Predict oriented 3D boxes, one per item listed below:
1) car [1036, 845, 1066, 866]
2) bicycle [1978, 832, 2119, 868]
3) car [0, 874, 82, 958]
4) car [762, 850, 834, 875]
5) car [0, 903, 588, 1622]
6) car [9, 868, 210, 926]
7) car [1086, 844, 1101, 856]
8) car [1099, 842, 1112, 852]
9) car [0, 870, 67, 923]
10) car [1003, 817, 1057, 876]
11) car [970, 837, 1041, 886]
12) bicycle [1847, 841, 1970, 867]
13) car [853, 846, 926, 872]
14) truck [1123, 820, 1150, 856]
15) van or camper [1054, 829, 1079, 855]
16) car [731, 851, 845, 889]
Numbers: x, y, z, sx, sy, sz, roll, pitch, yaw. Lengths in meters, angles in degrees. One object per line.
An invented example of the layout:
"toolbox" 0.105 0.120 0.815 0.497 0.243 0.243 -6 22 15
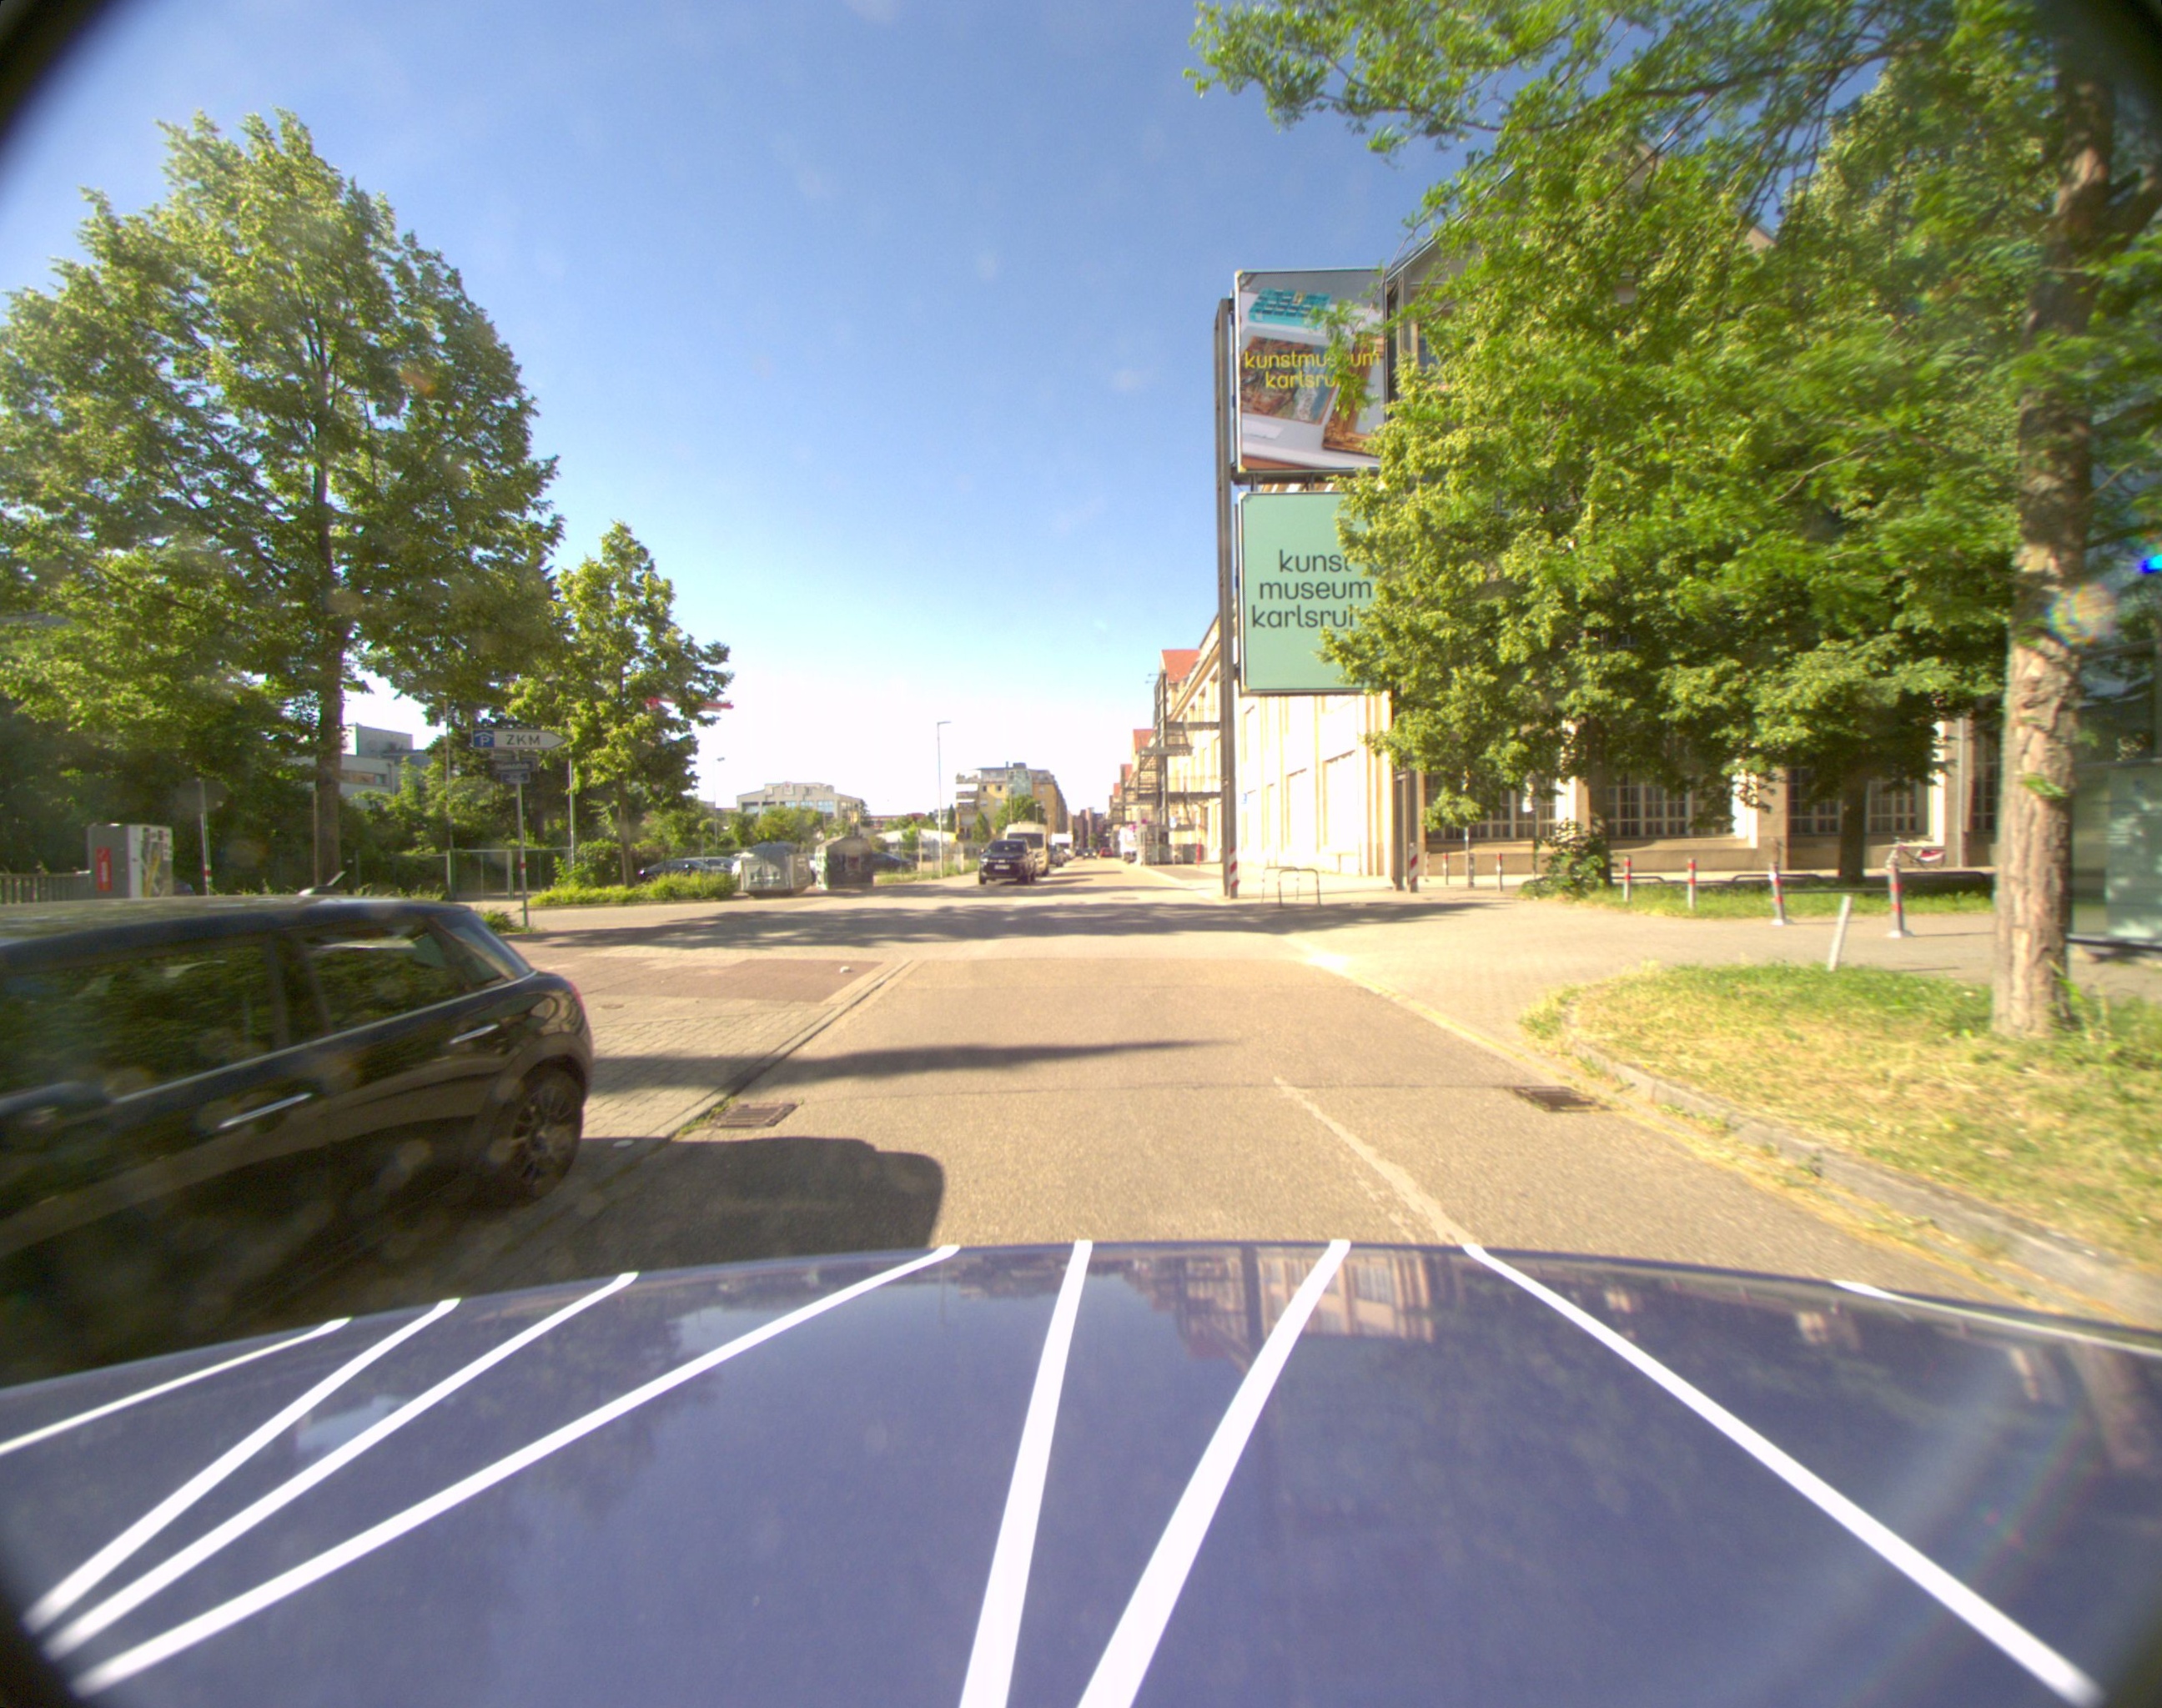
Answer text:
"car" -2.168 0.111 55.133 1.850 1.417 4.224 -2 1 2
"bicycle" 30.106 -0.140 23.747 0.718 1.057 2.808 -2 1 -3
"car" -21.039 1.129 13.444 4.420 1.414 1.752 -1 2 1
"car" -19.562 0.556 52.588 4.239 1.551 1.897 -2 1 0
"car" -3.278 1.006 1.869 1.656 1.464 3.763 0 1 0
"car" -28.596 1.231 22.468 3.544 1.466 1.722 -1 3 -1
"car" 1.615 -0.559 96.842 1.850 1.417 4.224 -1 1 1
"car" 3.593 -1.003 109.074 1.760 1.440 4.000 -1 1 3
"car" -33.725 1.303 22.811 3.999 1.466 1.845 -1 3 1
"car" -2.373 -0.359 36.986 2.163 2.582 6.282 -2 1 0
"car" -2.713 0.230 28.185 1.998 1.686 4.103 -1 1 3
"bicycle" 27.045 -0.001 24.880 2.880 0.788 0.781 -1 1 9
"car" -12.565 0.320 49.969 4.238 1.551 1.898 -1 1 3
"truck" 5.464 -1.569 75.104 2.498 3.412 7.127 -1 1 3
"van or camper" -1.627 -1.426 87.793 2.722 2.841 5.132 -1 1 0
"car" -13.484 0.724 35.155 4.422 1.600 2.000 -1 1 3
